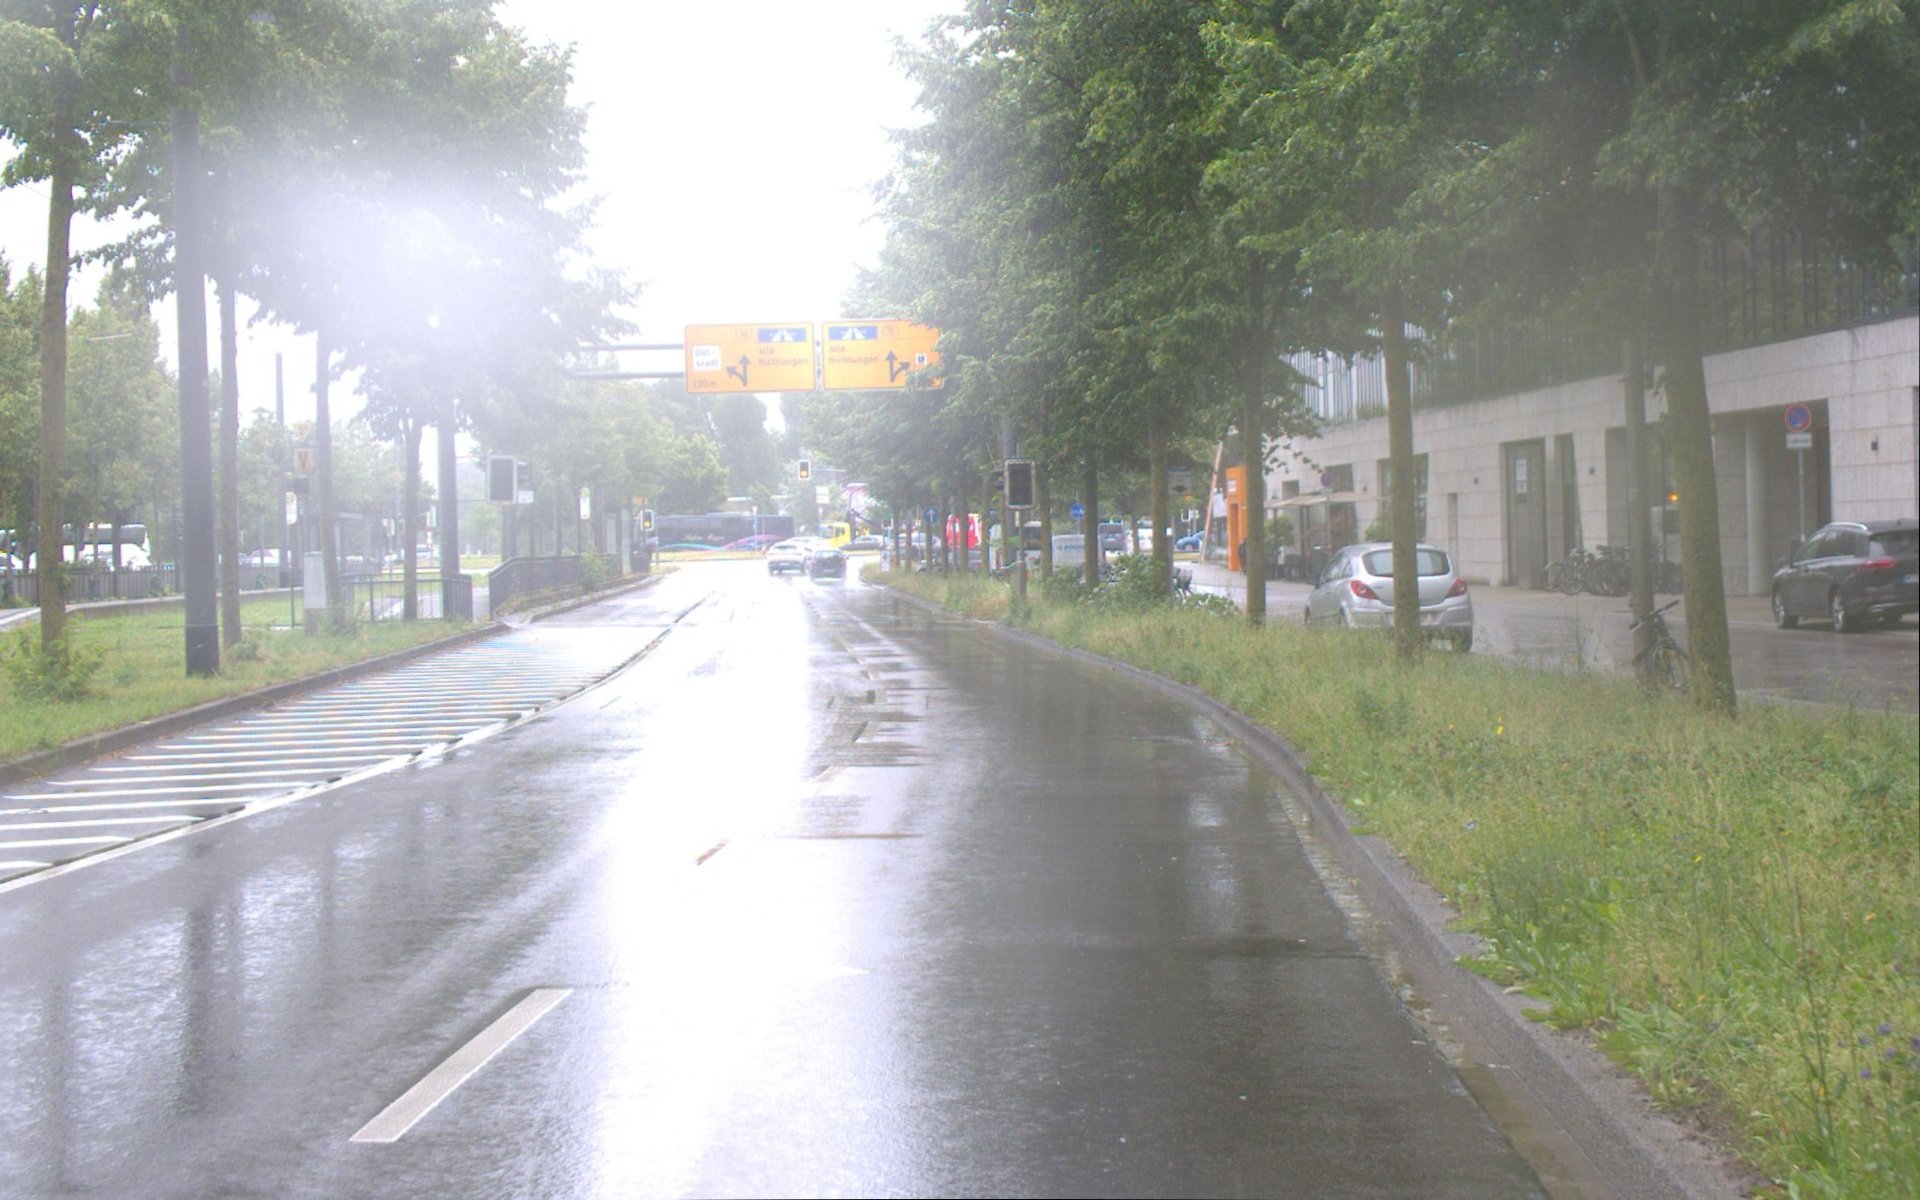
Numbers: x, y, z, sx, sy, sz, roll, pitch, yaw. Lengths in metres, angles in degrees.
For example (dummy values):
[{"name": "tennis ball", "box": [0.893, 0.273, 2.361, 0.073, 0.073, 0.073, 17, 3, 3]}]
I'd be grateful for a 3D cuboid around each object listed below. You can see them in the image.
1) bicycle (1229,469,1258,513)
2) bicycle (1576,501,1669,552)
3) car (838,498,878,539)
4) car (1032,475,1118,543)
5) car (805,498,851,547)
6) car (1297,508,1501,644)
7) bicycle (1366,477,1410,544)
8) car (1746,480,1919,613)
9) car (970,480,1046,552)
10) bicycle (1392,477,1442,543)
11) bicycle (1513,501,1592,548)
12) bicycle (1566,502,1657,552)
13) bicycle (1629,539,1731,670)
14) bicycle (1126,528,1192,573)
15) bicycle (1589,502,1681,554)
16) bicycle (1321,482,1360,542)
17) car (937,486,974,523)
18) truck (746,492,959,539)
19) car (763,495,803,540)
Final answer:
[{"name": "bicycle", "box": [10.600, -4.072, 128.528, 0.666, 1.529, 2.765, -2, 4, -3]}, {"name": "bicycle", "box": [13.881, -1.537, 72.048, 1.806, 1.025, 0.541, -1, 1, 0]}, {"name": "car", "box": [-5.611, -4.507, 189.083, 1.993, 2.006, 4.001, -1, 4, 1]}, {"name": "car", "box": [3.150, -2.533, 95.054, 1.906, 1.785, 4.689, -2, 2, -3]}, {"name": "car", "box": [-5.904, -3.476, 153.601, 1.940, 2.006, 4.001, -2, 4, -3]}, {"name": "car", "box": [5.834, -0.373, 46.204, 1.881, 1.500, 4.725, -2, 4, -3]}, {"name": "bicycle", "box": [11.934, -2.519, 95.955, 0.644, 1.716, 3.121, -2, 4, -3]}, {"name": "car", "box": [12.604, -0.791, 47.752, 1.993, 1.496, 5.035, -6, 3, -1]}, {"name": "car", "box": [1.559, -2.793, 113.443, 2.121, 2.266, 4.565, -2, 2, -3]}, {"name": "bicycle", "box": [12.730, -2.525, 95.771, 0.772, 1.716, 3.121, -2, 4, -3]}, {"name": "bicycle", "box": [13.463, -1.712, 78.095, 1.694, 1.025, 0.423, -1, 1, 0]}, {"name": "bicycle", "box": [13.878, -1.558, 73.265, 1.806, 1.025, 0.541, -1, 1, 0]}, {"name": "bicycle", "box": [5.265, 0.016, 25.194, 0.342, 0.819, 1.903, -1, 4, 0]}, {"name": "bicycle", "box": [4.026, -0.998, 69.535, 1.289, 0.871, 0.301, -2, 1, 7]}, {"name": "bicycle", "box": [14.021, -1.501, 71.387, 1.806, 1.025, 0.401, -1, 1, 0]}, {"name": "bicycle", "box": [11.696, -2.715, 105.677, 0.644, 1.716, 3.121, -2, 4, -3]}, {"name": "car", "box": [-0.274, -5.713, 204.629, 1.993, 2.006, 4.001, -1, 4, -2]}, {"name": "truck", "box": [-7.706, -6.059, 245.407, 14.855, 3.136, 3.524, -1, 1, -9]}, {"name": "car", "box": [-8.721, -4.082, 169.880, 1.888, 2.006, 4.001, -2, 4, -3]}]
